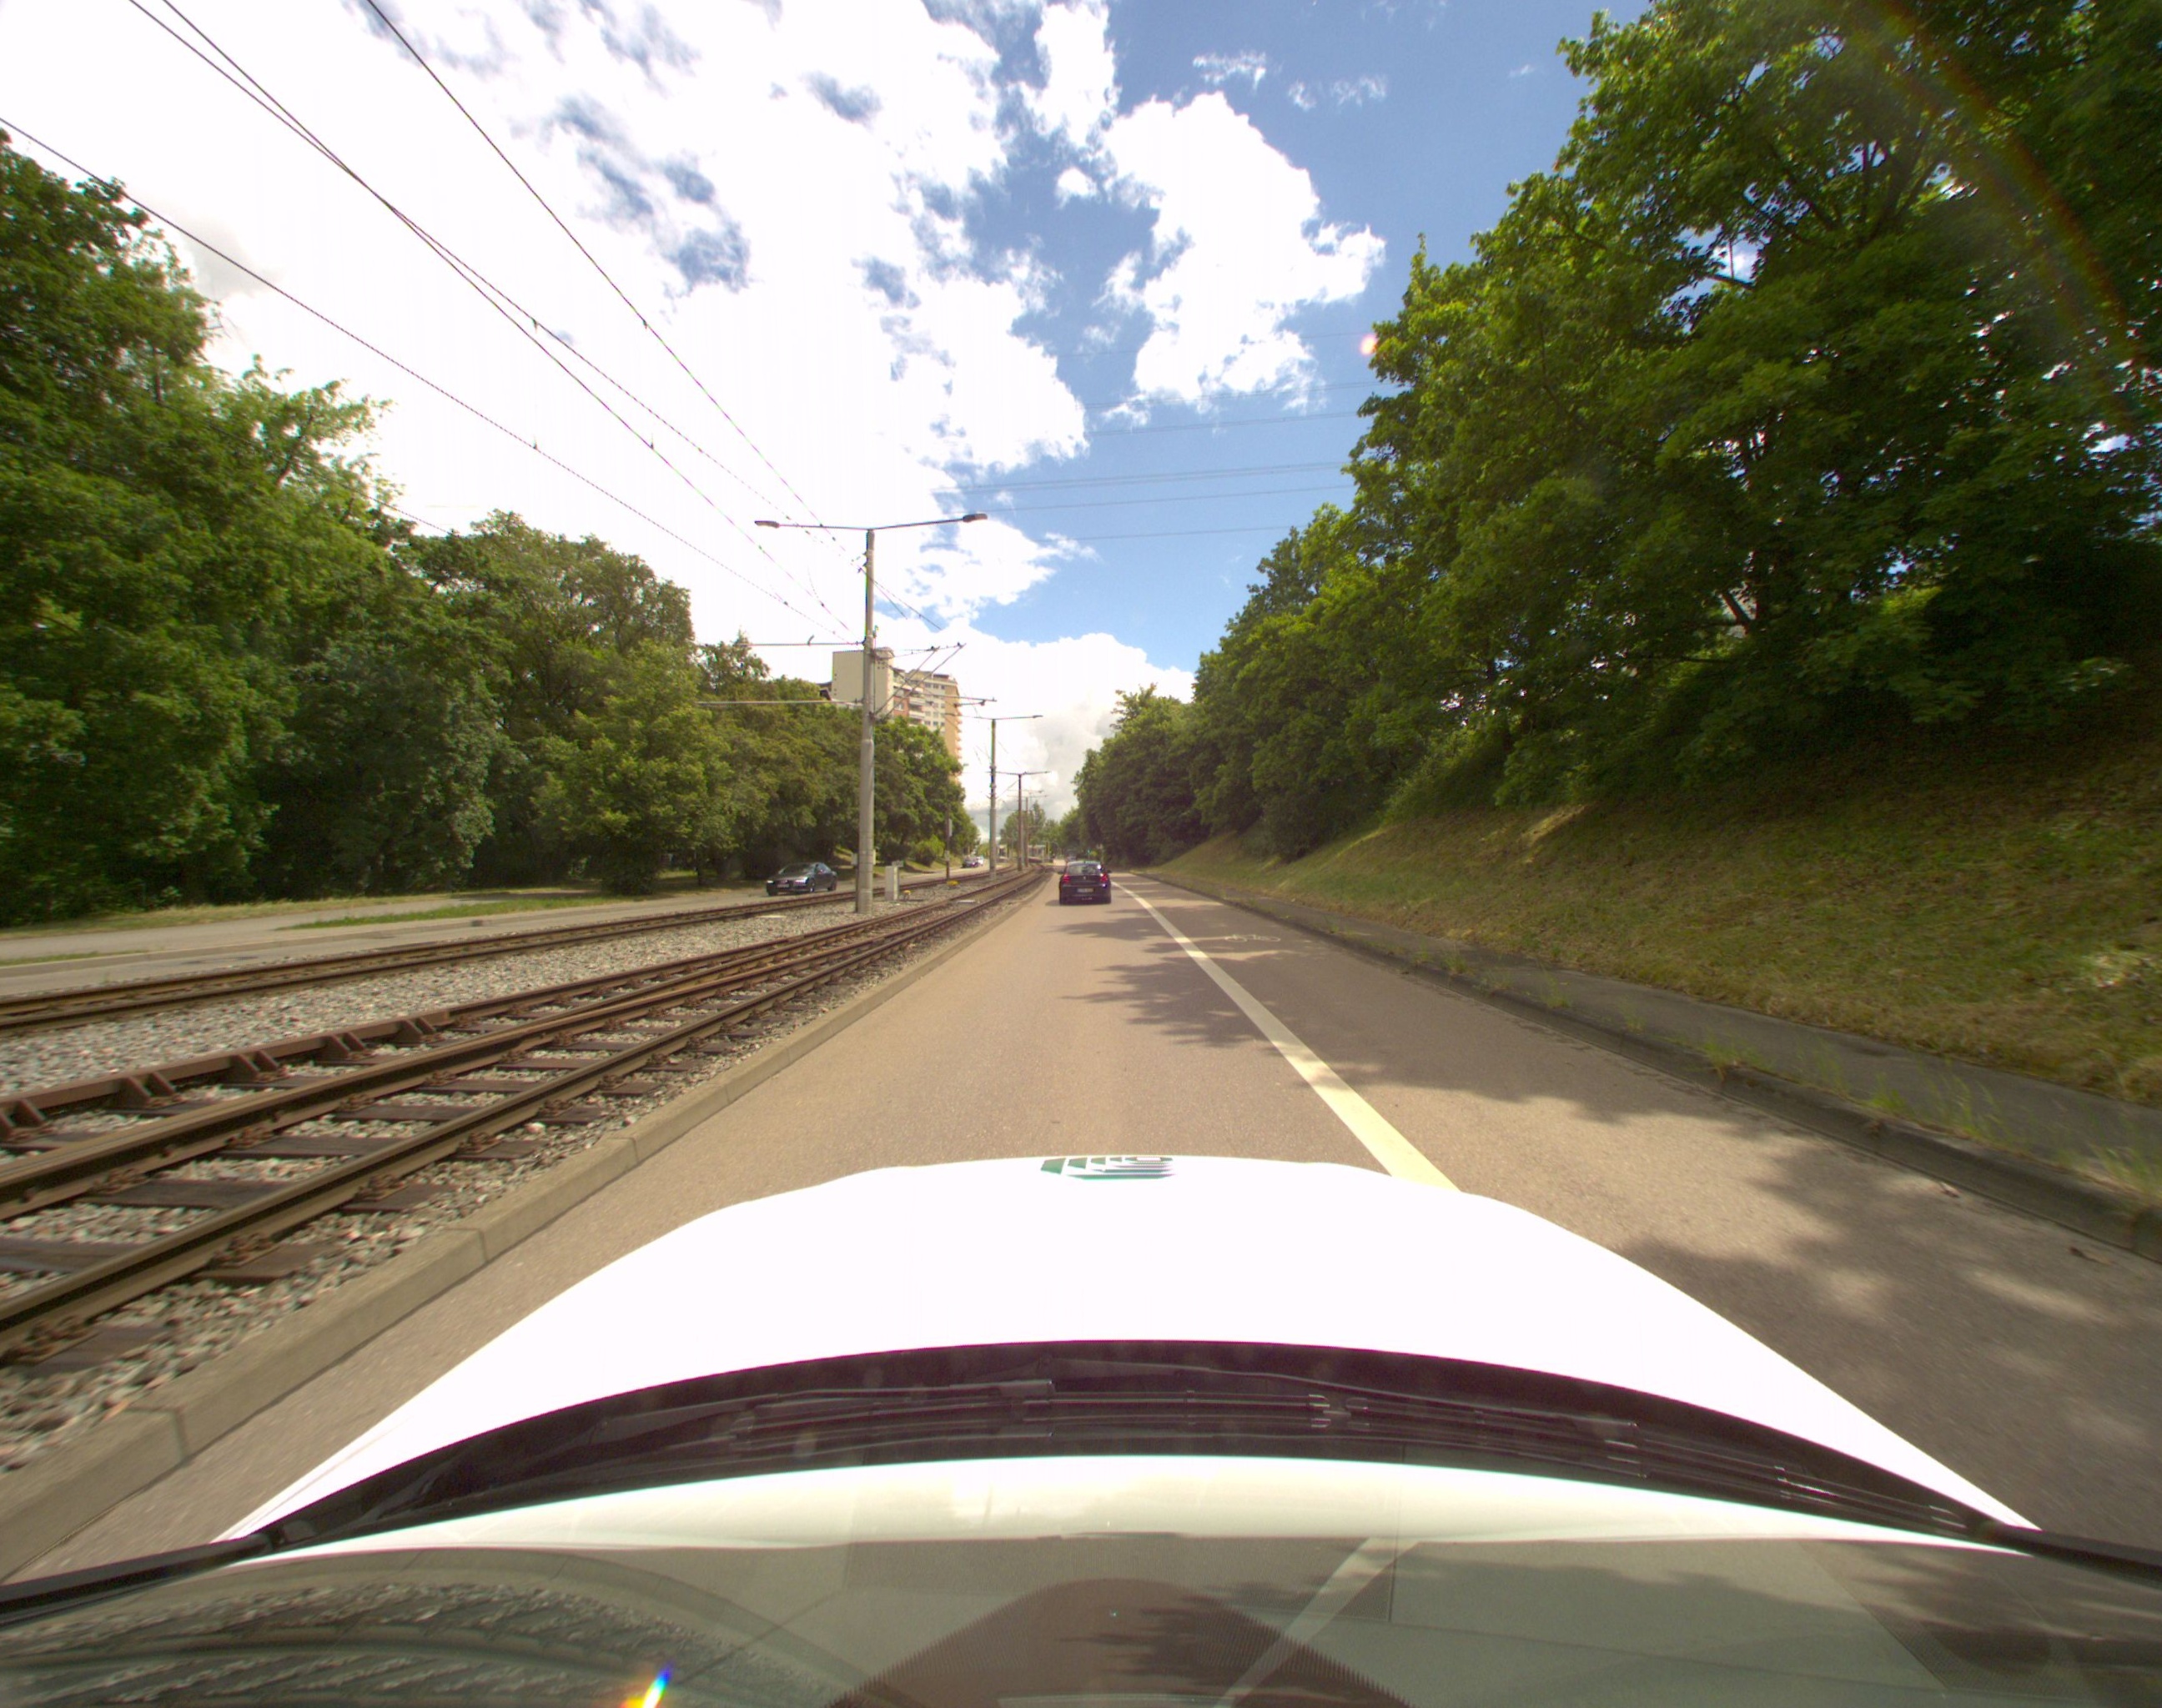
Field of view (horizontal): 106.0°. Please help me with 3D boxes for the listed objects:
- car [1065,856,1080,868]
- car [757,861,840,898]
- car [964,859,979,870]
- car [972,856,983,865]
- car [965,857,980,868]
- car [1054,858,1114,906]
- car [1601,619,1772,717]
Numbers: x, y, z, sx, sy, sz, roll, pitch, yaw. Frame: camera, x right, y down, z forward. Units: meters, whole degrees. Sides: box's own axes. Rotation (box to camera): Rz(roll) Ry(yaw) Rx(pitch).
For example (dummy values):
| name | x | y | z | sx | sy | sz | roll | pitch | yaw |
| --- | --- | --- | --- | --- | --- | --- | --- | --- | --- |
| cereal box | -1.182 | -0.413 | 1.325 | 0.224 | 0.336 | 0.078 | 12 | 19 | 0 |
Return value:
| name | x | y | z | sx | sy | sz | roll | pitch | yaw |
| --- | --- | --- | --- | --- | --- | --- | --- | --- | --- |
| car | -1.052 | 0.971 | 99.805 | 1.776 | 1.459 | 3.918 | -1 | 0 | -1 |
| car | -12.492 | 1.087 | 36.377 | 1.829 | 1.391 | 4.864 | -3 | 0 | 2 |
| car | -15.318 | 1.407 | 114.153 | 1.771 | 1.498 | 3.991 | -1 | 0 | -4 |
| car | -17.558 | 1.092 | 138.359 | 1.780 | 1.532 | 4.234 | -1 | 0 | -7 |
| car | -16.098 | 1.265 | 120.939 | 1.771 | 1.630 | 4.375 | -1 | -1 | -4 |
| car | 0.045 | 0.905 | 27.853 | 1.778 | 1.459 | 3.916 | -2 | 0 | -4 |
| car | 16.145 | -4.898 | 21.992 | 1.638 | 1.687 | 4.044 | -1 | 0 | 1 |
